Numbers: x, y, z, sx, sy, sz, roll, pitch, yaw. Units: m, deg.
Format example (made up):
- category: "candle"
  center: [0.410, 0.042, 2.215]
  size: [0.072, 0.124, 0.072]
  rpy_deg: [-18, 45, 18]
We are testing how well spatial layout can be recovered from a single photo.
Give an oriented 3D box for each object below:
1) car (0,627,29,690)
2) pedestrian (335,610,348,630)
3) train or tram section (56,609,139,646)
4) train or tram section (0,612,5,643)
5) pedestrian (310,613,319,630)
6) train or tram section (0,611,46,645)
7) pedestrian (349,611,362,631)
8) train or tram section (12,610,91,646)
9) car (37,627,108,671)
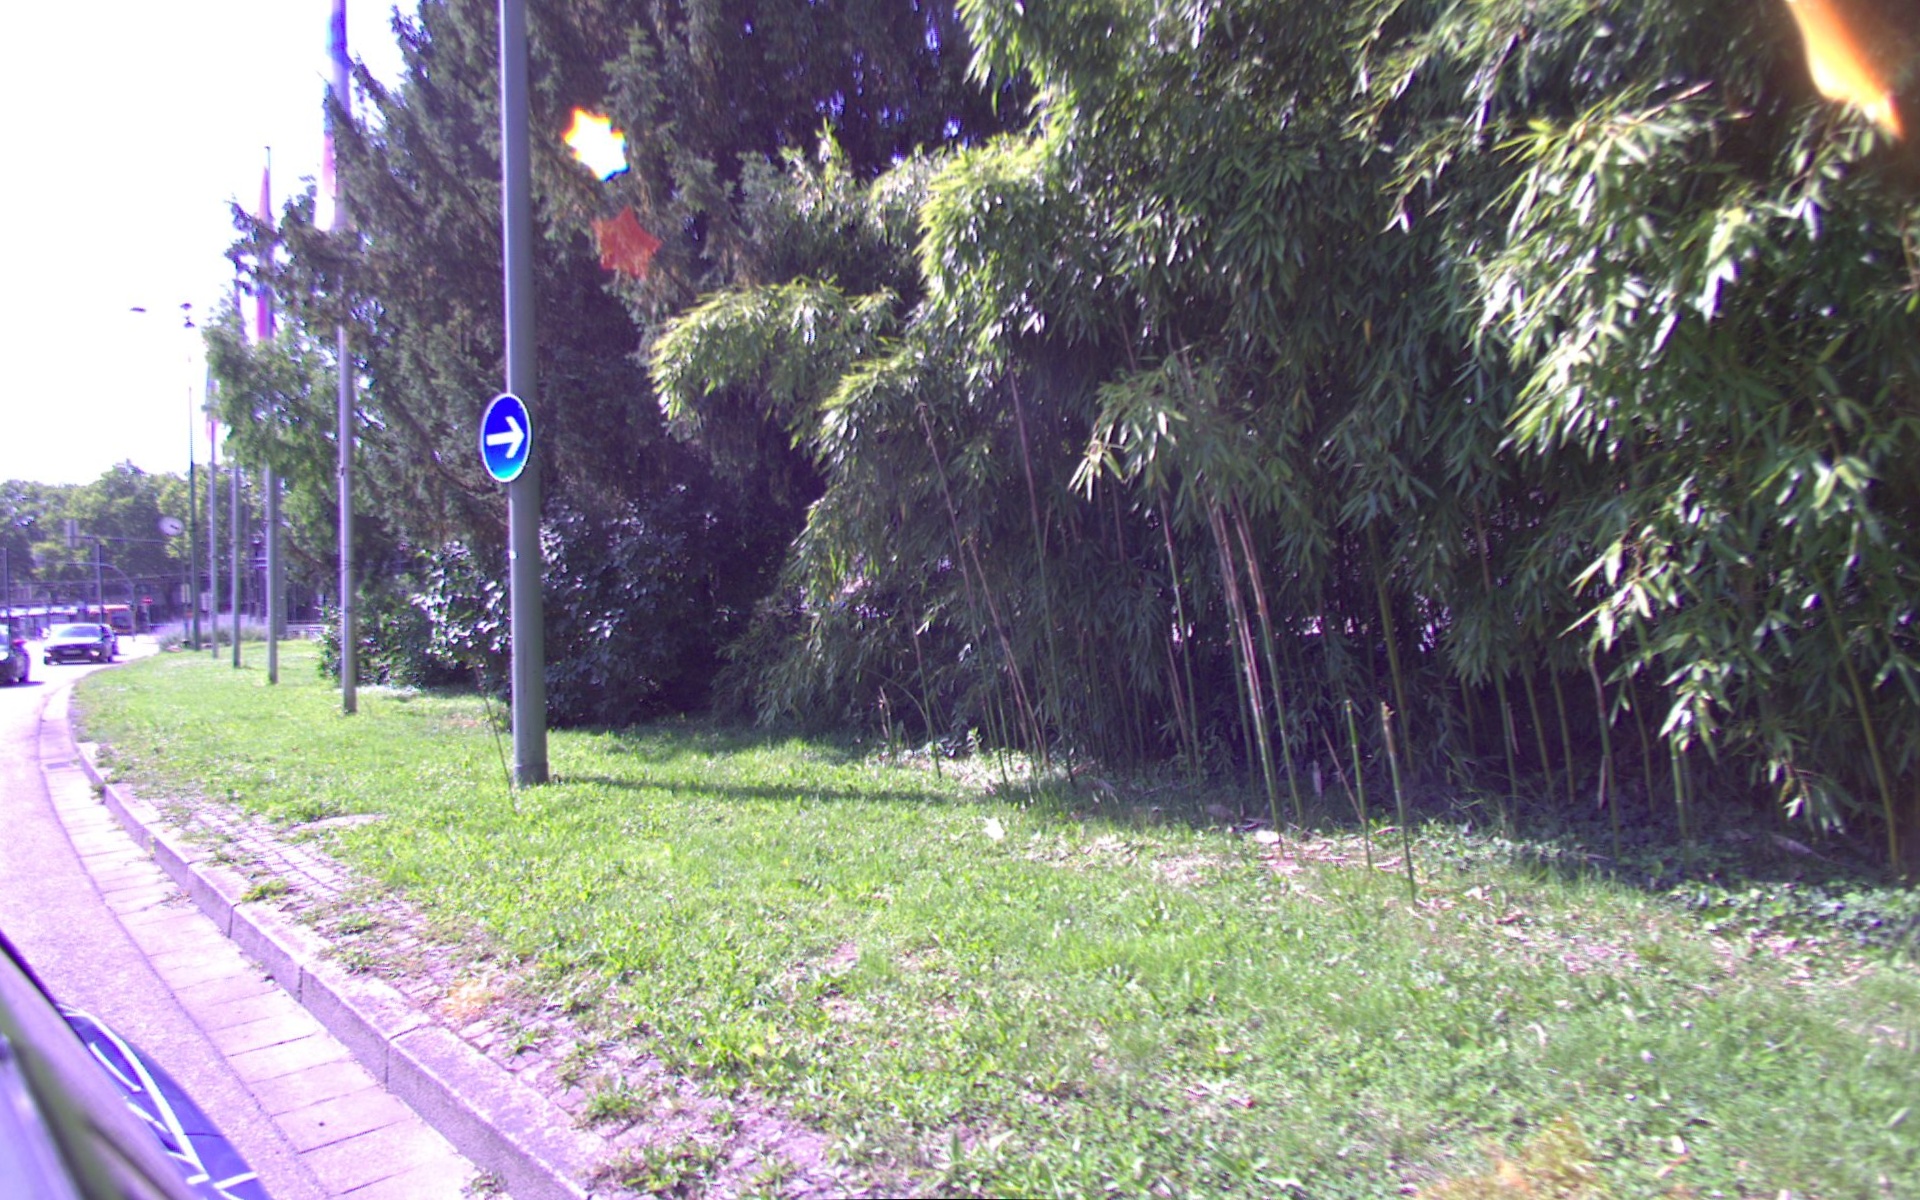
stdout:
- category: "car"
  center: [-24.253, 1.407, 24.792]
  size: [1.763, 1.463, 4.289]
  rpy_deg: [0, -1, -38]
- category: "pedestrian"
  center: [-57.969, 1.869, 94.849]
  size: [0.668, 1.820, 0.816]
  rpy_deg: [-1, -1, 27]
- category: "train or tram section"
  center: [-82.701, 2.619, 96.970]
  size: [8.688, 3.292, 2.712]
  rpy_deg: [-2, 0, 26]
- category: "train or tram section"
  center: [-106.142, 3.066, 108.343]
  size: [8.688, 3.292, 2.712]
  rpy_deg: [-2, 0, 26]
- category: "pedestrian"
  center: [-61.764, 2.070, 96.823]
  size: [0.556, 1.650, 0.601]
  rpy_deg: [-1, 0, -16]
- category: "train or tram section"
  center: [-98.325, 2.917, 104.527]
  size: [8.688, 3.292, 2.712]
  rpy_deg: [-2, 0, 26]
- category: "pedestrian"
  center: [-56.464, 1.936, 94.577]
  size: [0.667, 1.850, 0.816]
  rpy_deg: [-1, 0, 25]
- category: "train or tram section"
  center: [-90.498, 2.768, 100.735]
  size: [8.688, 3.292, 2.712]
  rpy_deg: [-2, 0, 26]
- category: "car"
  center: [-32.797, 1.776, 37.486]
  size: [1.763, 1.504, 4.096]
  rpy_deg: [0, -1, -38]
